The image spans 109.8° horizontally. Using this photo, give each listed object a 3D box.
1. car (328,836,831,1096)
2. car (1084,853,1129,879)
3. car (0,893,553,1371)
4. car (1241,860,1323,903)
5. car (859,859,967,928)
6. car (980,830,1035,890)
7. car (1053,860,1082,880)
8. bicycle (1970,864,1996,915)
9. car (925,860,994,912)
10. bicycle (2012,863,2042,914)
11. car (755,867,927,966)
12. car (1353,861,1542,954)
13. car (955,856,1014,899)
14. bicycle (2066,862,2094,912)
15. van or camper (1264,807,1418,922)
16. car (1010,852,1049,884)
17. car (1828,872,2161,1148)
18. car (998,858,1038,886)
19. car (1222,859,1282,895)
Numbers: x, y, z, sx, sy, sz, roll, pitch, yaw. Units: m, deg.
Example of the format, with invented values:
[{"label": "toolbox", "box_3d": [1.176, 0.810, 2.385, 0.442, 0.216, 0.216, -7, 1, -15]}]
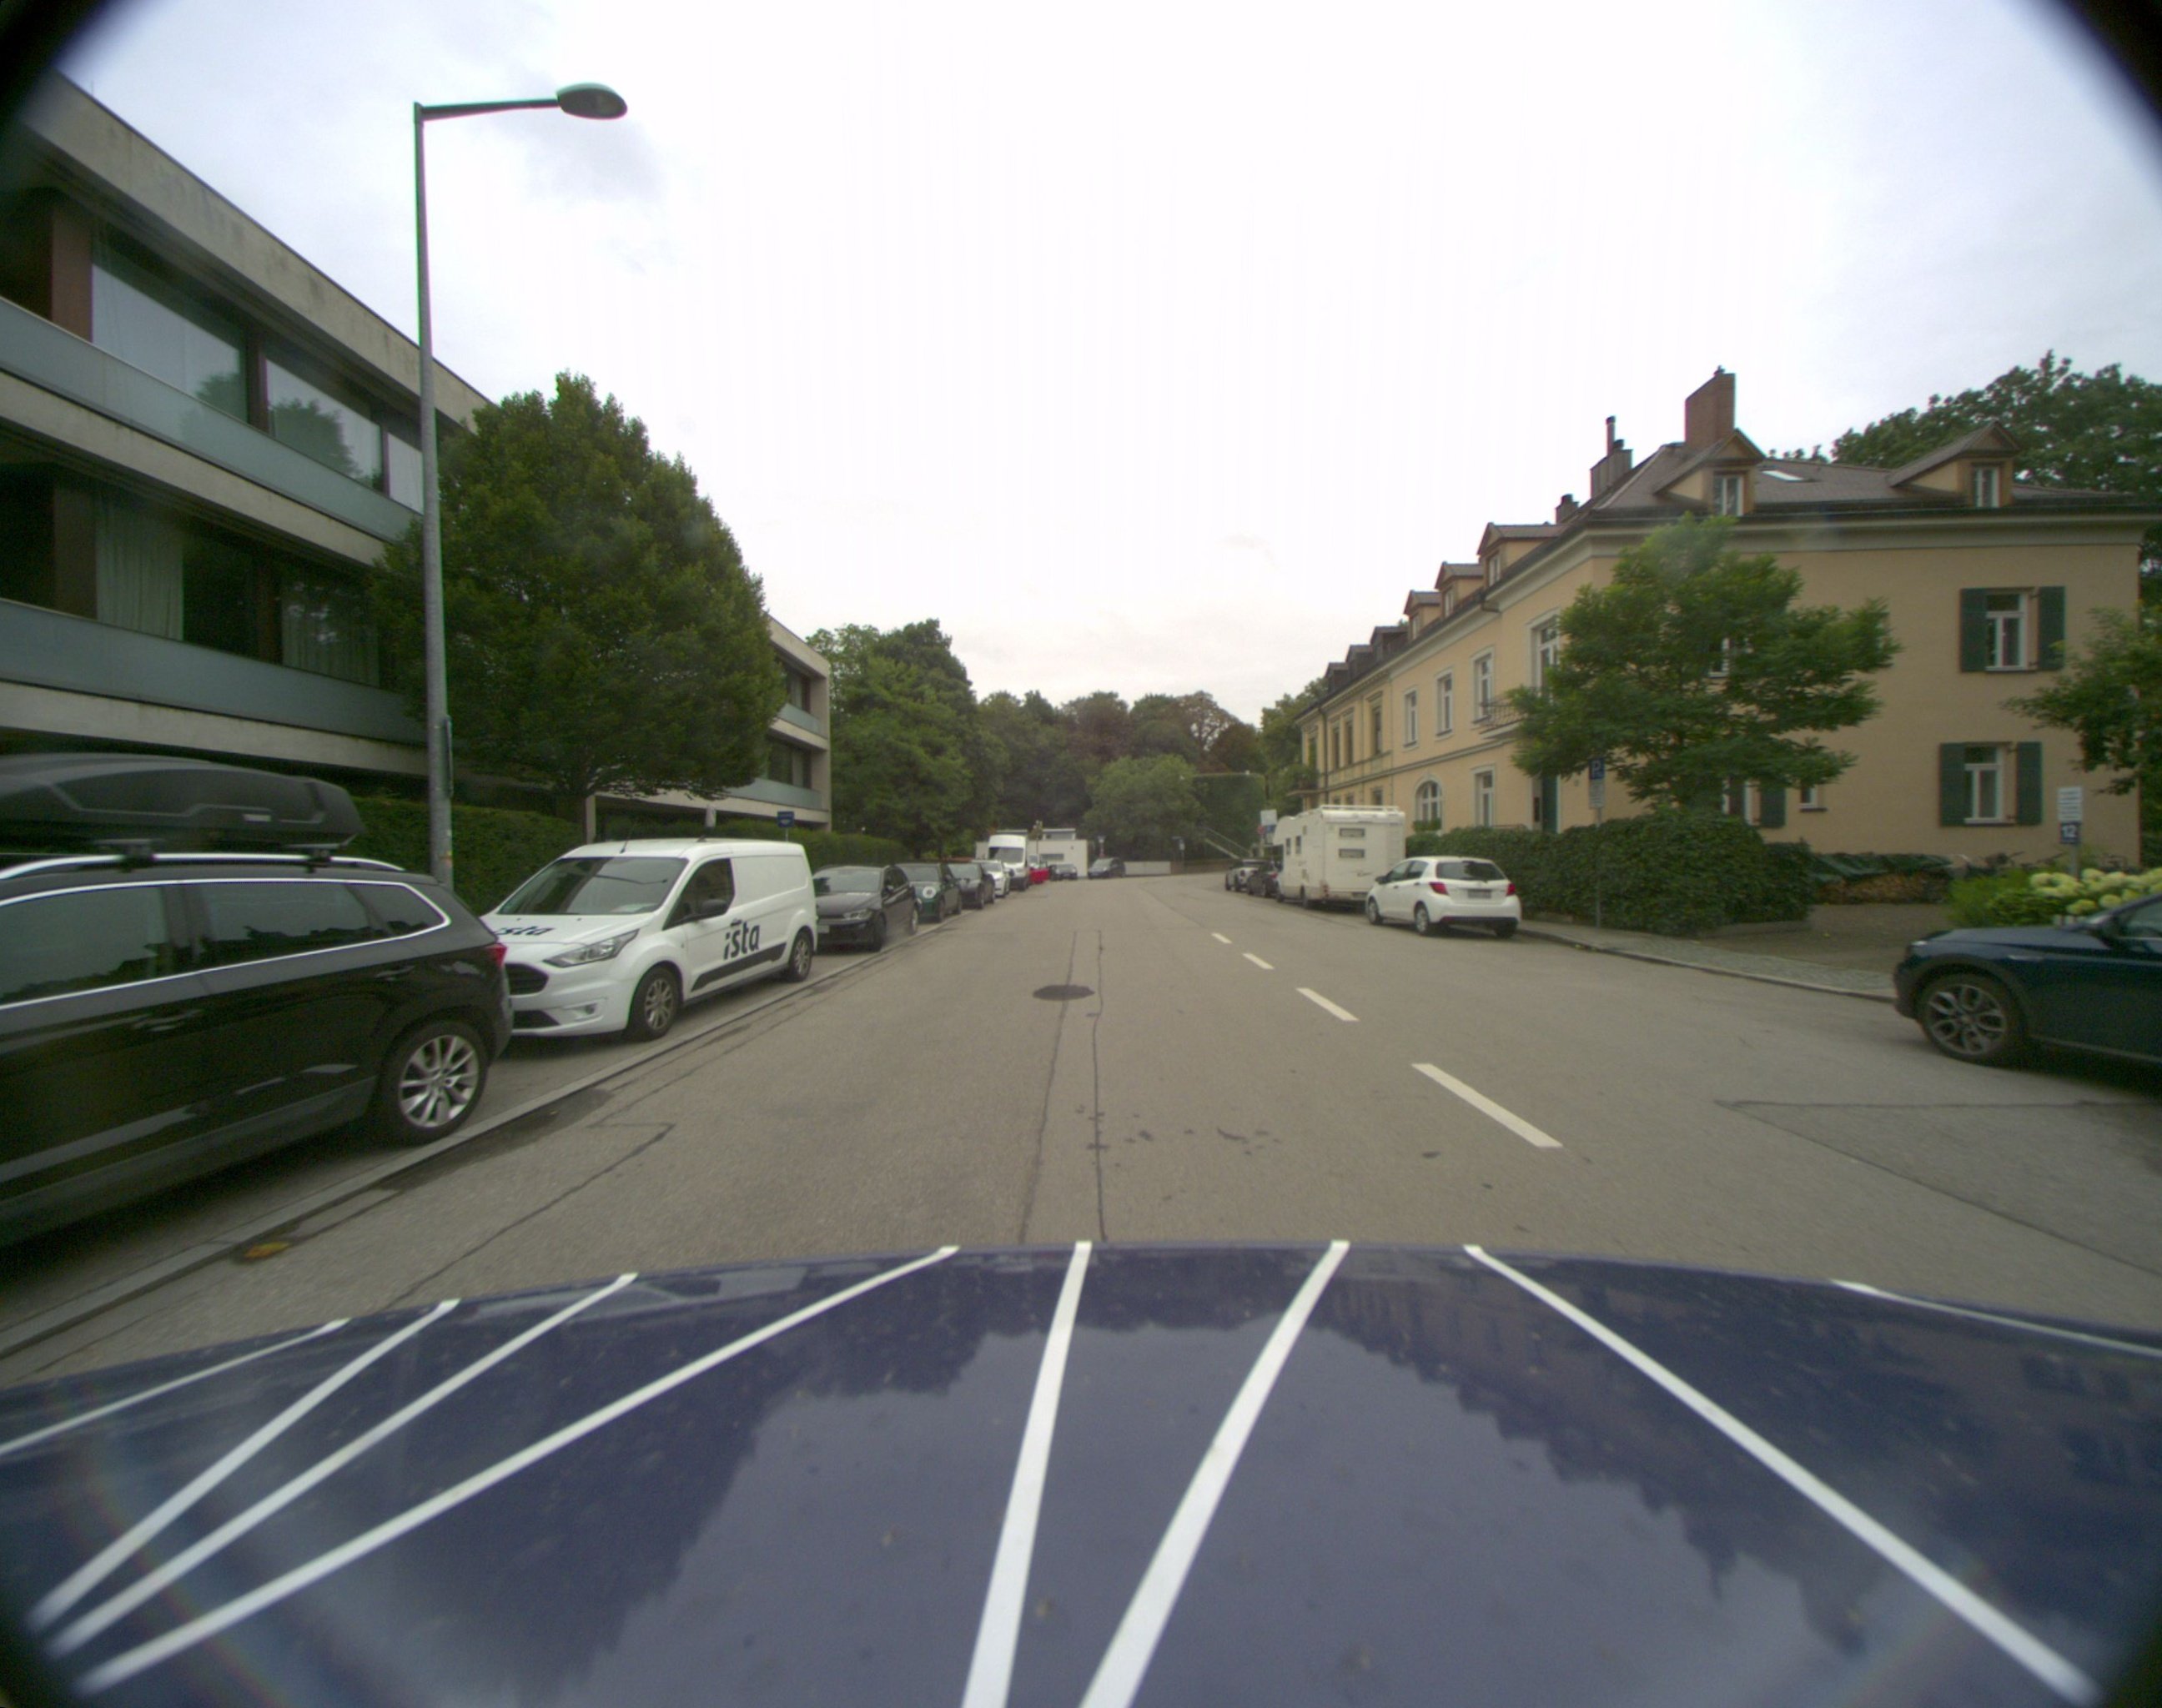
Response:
[{"label": "car", "box_3d": [-4.462, 0.828, 7.968, 1.827, 1.849, 4.899, -2, 0, 2]}, {"label": "car", "box_3d": [2.013, 0.953, 58.224, 1.996, 1.682, 4.343, -5, -4, 22]}, {"label": "car", "box_3d": [-4.472, 1.000, 2.815, 1.752, 1.471, 4.598, -1, 0, 1]}, {"label": "car", "box_3d": [7.905, 1.044, 30.390, 1.940, 1.499, 4.822, 2, 0, 0]}, {"label": "car", "box_3d": [-4.092, 0.898, 19.183, 1.731, 1.520, 4.205, 1, 0, 1]}, {"label": "car", "box_3d": [-3.511, 0.313, 37.539, 2.085, 2.670, 6.088, 1, -1, -1]}, {"label": "car", "box_3d": [-1.097, 1.283, 60.056, 1.897, 1.438, 4.268, -3, -1, -5]}, {"label": "bicycle", "box_3d": [20.300, 0.775, 17.104, 1.746, 1.078, 0.368, -1, 1, -40]}, {"label": "car", "box_3d": [-3.817, 0.956, 24.628, 1.284, 1.497, 5.208, 2, -1, 1]}, {"label": "bicycle", "box_3d": [21.224, 0.756, 17.060, 1.746, 1.078, 0.368, -1, 1, -40]}, {"label": "car", "box_3d": [-4.129, 1.004, 13.842, 1.752, 1.455, 4.242, 0, 0, 1]}, {"label": "car", "box_3d": [7.158, 0.956, 15.387, 1.783, 1.526, 4.228, 2, 0, 1]}, {"label": "car", "box_3d": [-3.810, 0.902, 30.837, 1.876, 1.560, 5.001, 2, -1, -2]}, {"label": "bicycle", "box_3d": [22.704, 0.724, 17.264, 1.746, 1.078, 0.368, -1, 1, -37]}, {"label": "van or camper", "box_3d": [7.616, 0.285, 23.317, 2.461, 2.923, 7.213, 1, 0, 2]}, {"label": "car", "box_3d": [-3.277, 0.871, 49.001, 1.939, 1.893, 5.073, 2, 0, 2]}, {"label": "car", "box_3d": [7.171, 0.960, 4.128, 1.849, 1.526, 4.441, 2, 1, 1]}, {"label": "car", "box_3d": [-3.570, 1.008, 43.770, 1.875, 1.498, 4.838, 2, -1, -1]}, {"label": "car", "box_3d": [8.064, 1.056, 36.261, 1.940, 1.526, 4.531, 2, 0, 2]}]
